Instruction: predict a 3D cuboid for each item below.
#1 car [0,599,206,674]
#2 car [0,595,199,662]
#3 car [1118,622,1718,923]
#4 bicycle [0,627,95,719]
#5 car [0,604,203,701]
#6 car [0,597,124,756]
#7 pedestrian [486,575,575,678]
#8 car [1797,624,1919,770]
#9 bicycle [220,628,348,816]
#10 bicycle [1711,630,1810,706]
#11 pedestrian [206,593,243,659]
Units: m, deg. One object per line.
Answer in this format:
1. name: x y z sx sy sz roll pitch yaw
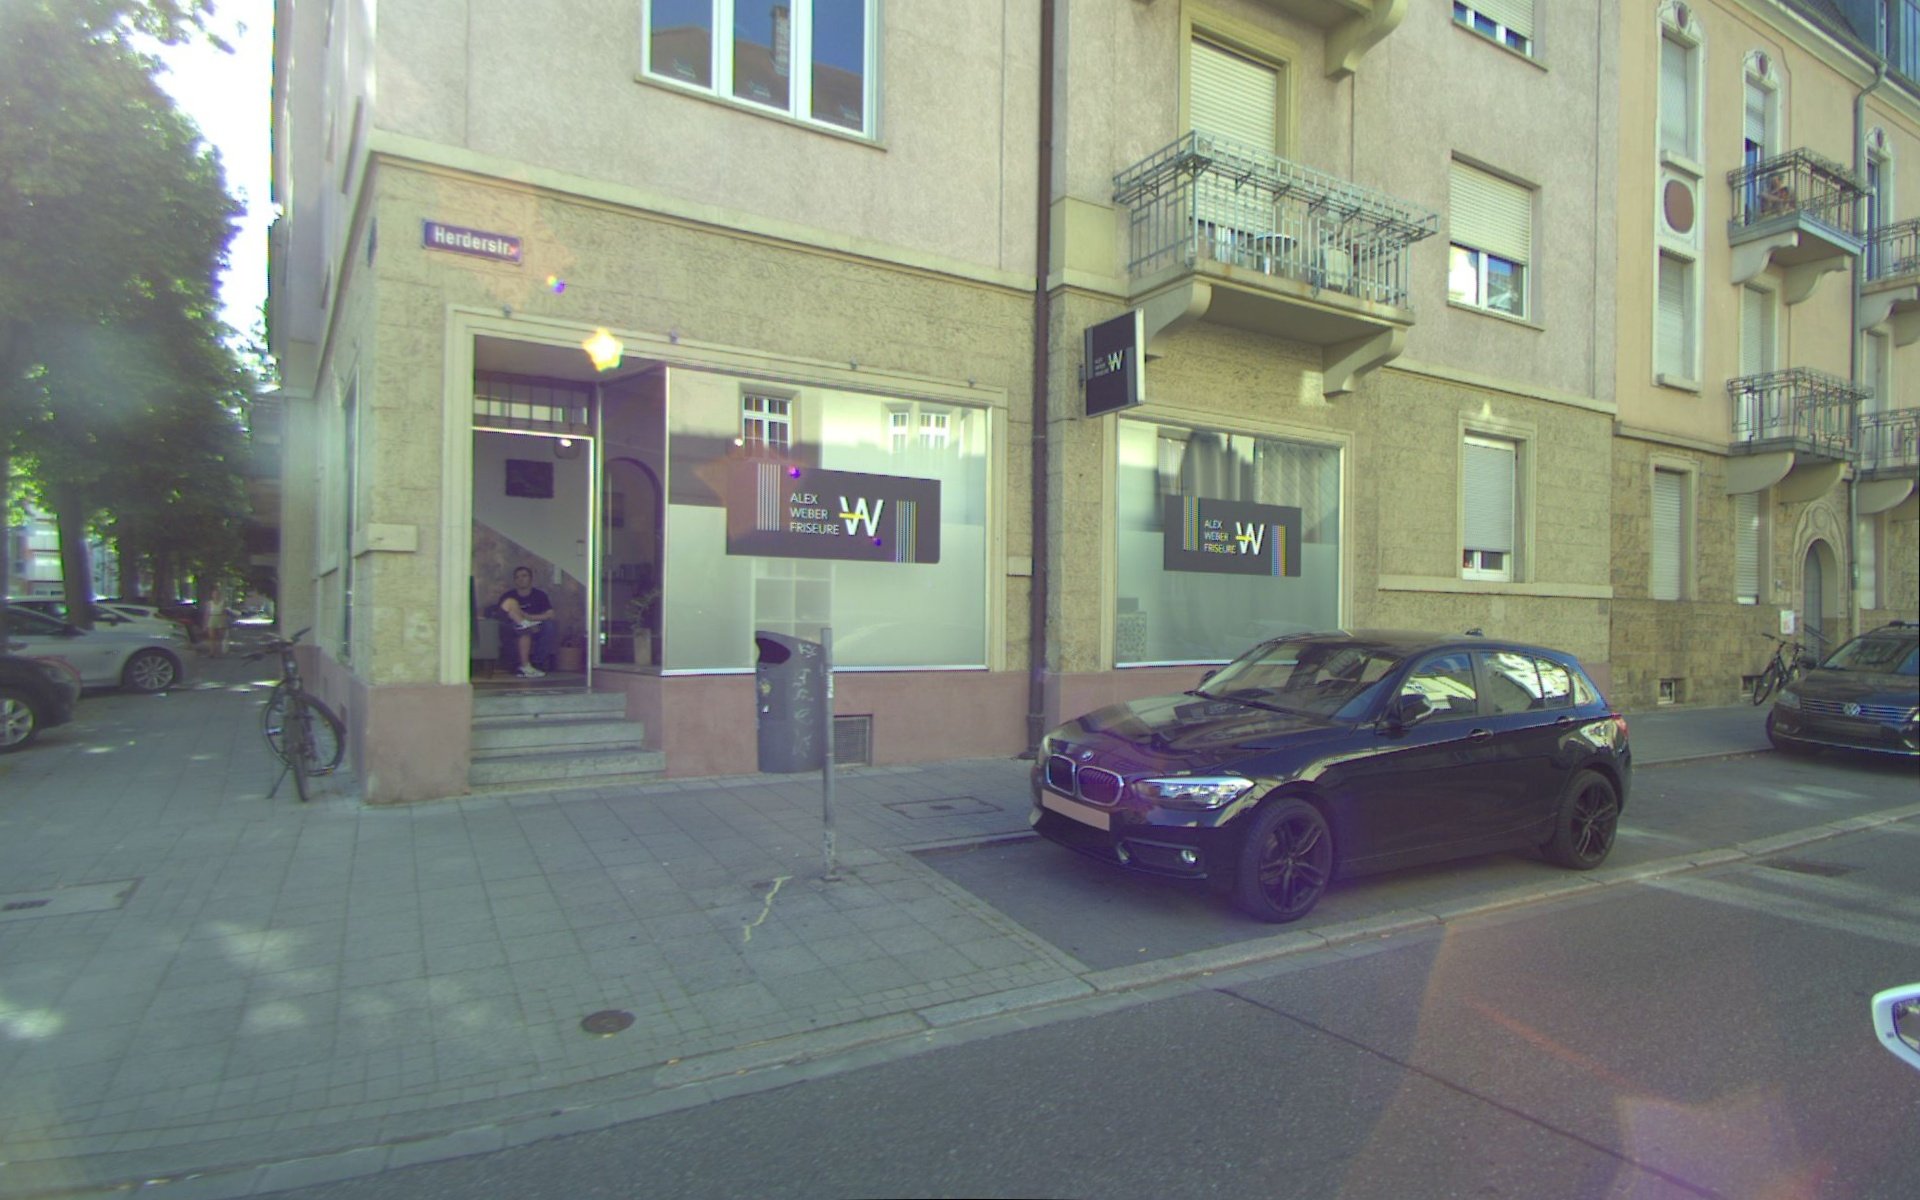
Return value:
1. car: -18.603 0.724 21.106 1.629 1.454 4.120 0 -1 30
2. car: -21.434 0.664 24.630 1.629 1.494 4.120 0 -1 30
3. car: 3.125 0.911 6.751 3.818 1.405 1.707 1 3 -29
4. bicycle: -11.567 0.867 12.116 1.602 1.071 0.626 1 0 -29
5. car: -13.833 0.735 14.694 1.629 1.339 4.120 0 -1 30
6. car: -9.633 0.690 8.212 1.676 1.403 3.999 0 0 20
7. pedestrian: -4.498 0.256 10.484 0.694 1.004 1.130 1 1 -32
8. car: 11.868 1.069 11.944 4.062 1.541 1.706 1 -1 -31
9. bicycle: -4.865 0.802 7.314 0.687 1.151 1.795 1 0 -32
10. bicycle: 13.344 1.118 16.734 1.824 1.175 0.661 2 0 -30
11. pedestrian: -19.199 0.676 26.209 0.760 1.705 0.610 1 0 -38
